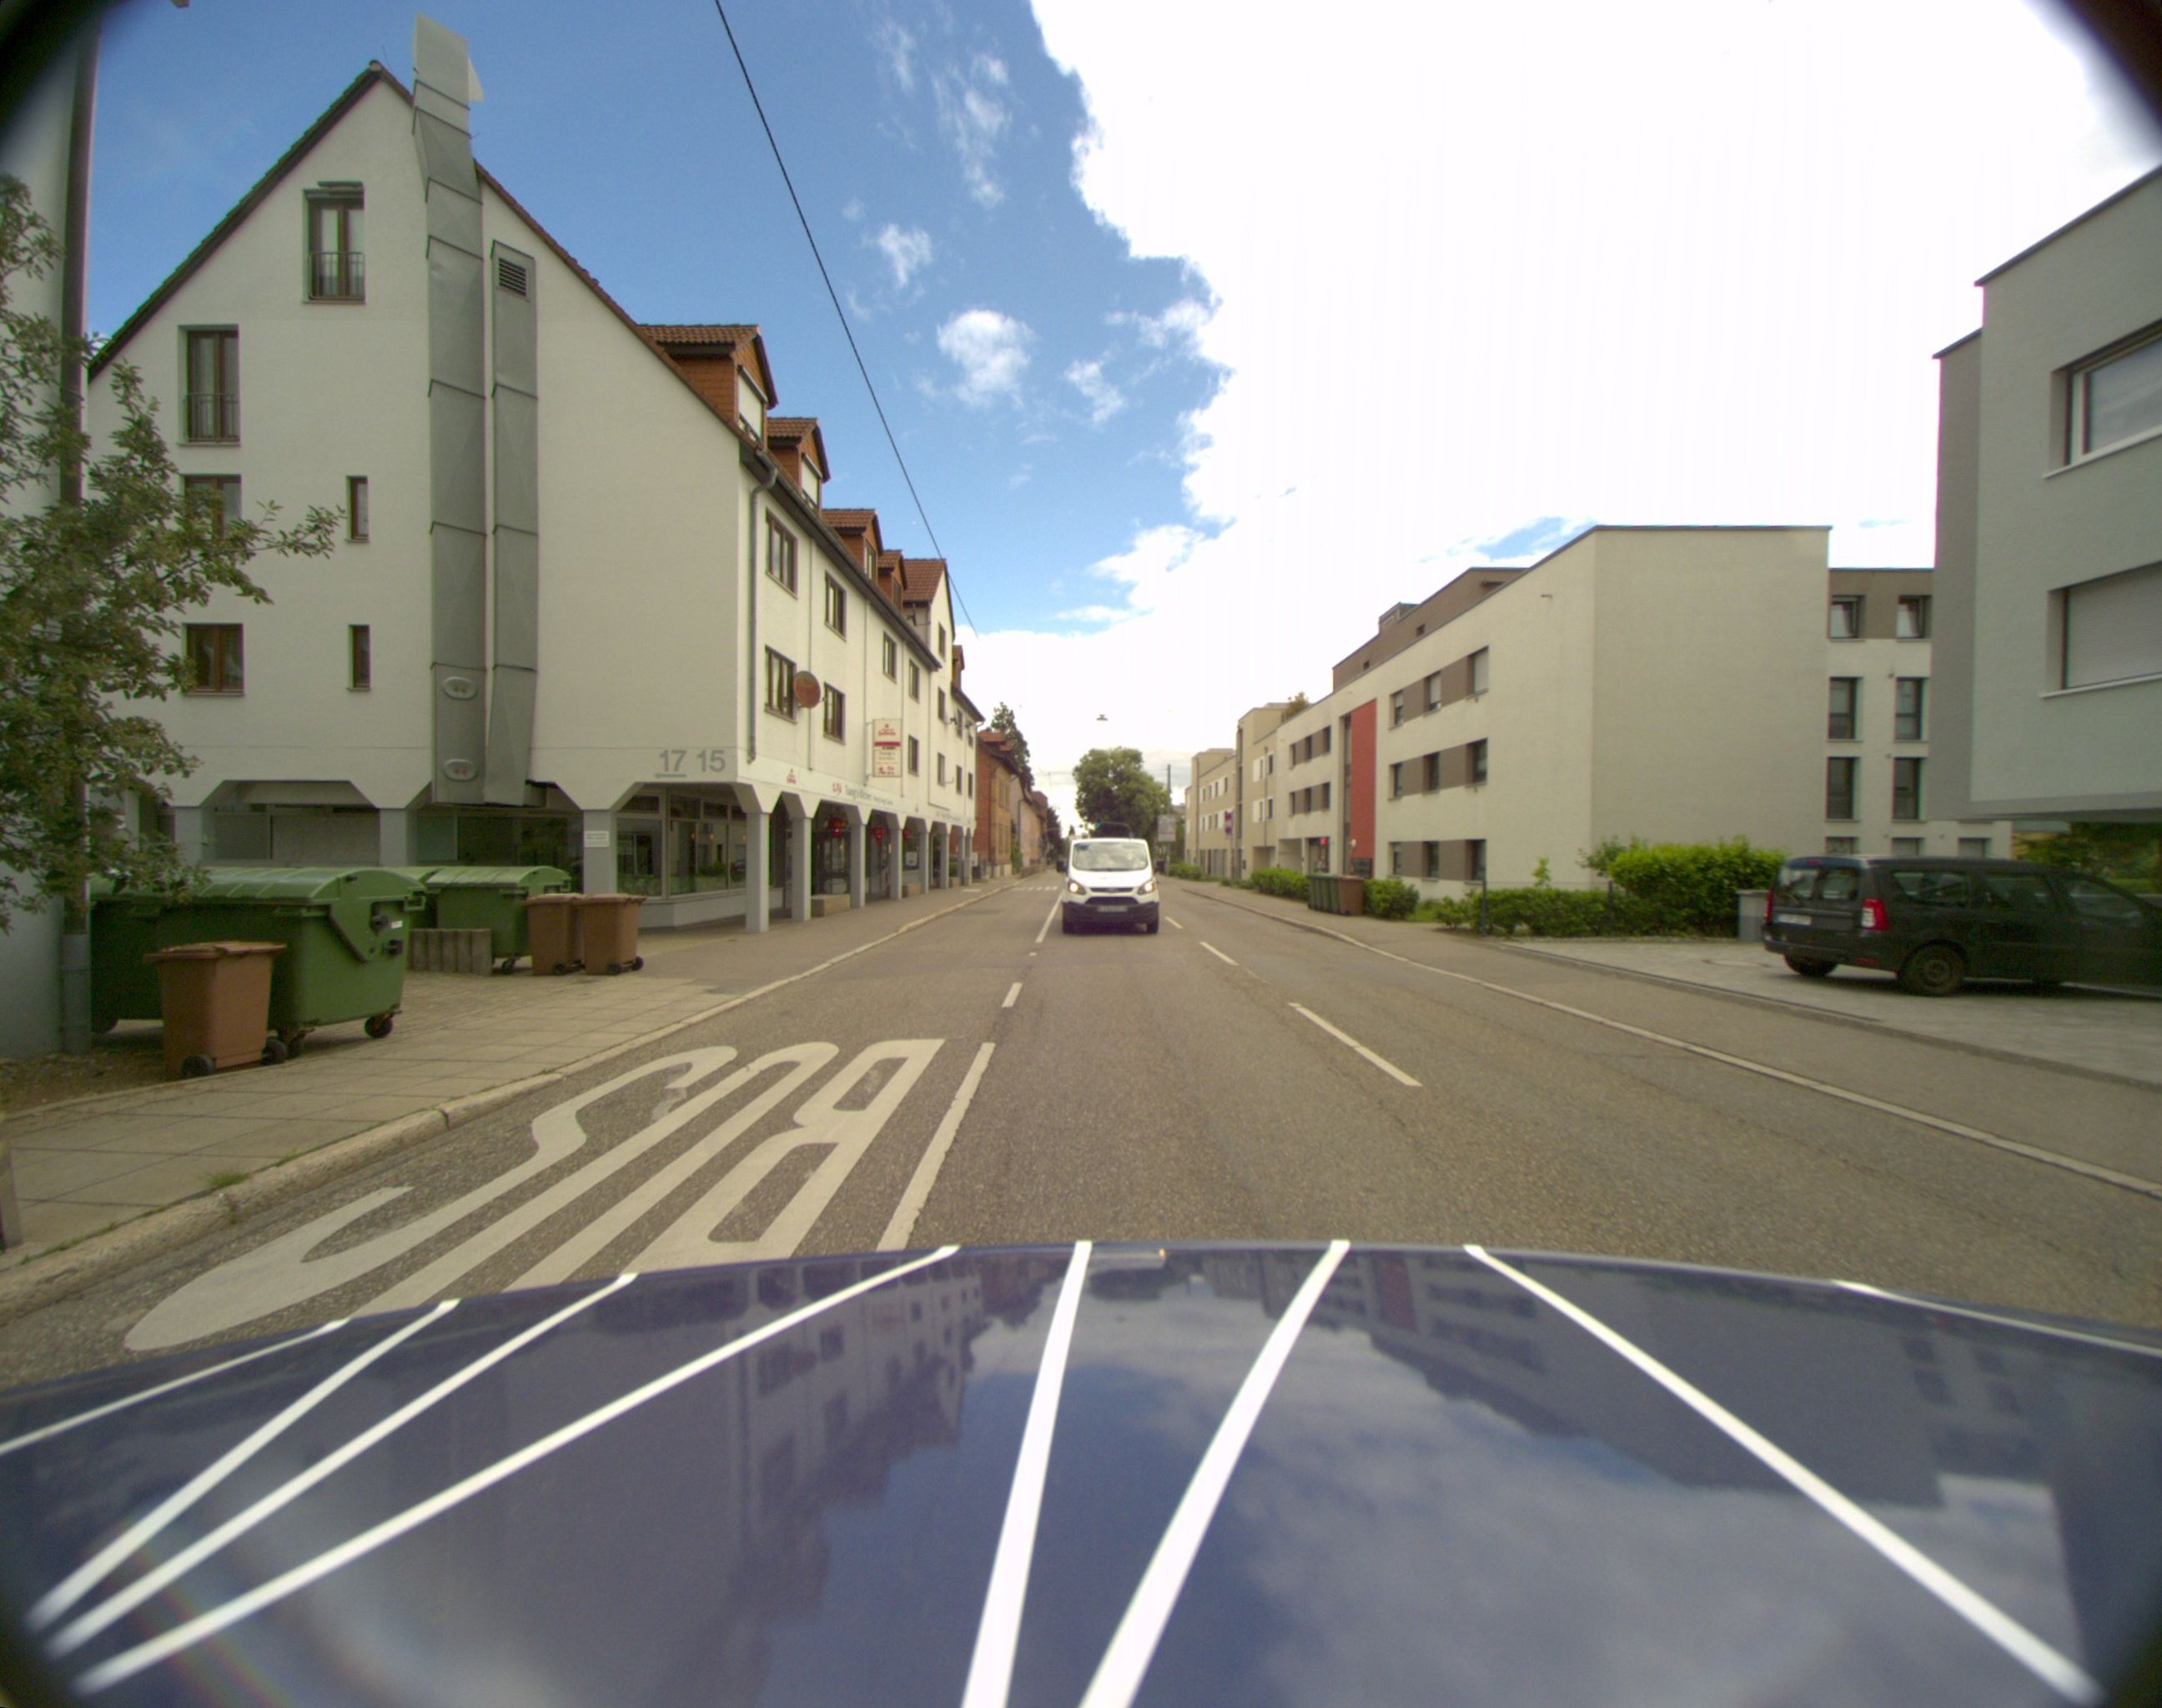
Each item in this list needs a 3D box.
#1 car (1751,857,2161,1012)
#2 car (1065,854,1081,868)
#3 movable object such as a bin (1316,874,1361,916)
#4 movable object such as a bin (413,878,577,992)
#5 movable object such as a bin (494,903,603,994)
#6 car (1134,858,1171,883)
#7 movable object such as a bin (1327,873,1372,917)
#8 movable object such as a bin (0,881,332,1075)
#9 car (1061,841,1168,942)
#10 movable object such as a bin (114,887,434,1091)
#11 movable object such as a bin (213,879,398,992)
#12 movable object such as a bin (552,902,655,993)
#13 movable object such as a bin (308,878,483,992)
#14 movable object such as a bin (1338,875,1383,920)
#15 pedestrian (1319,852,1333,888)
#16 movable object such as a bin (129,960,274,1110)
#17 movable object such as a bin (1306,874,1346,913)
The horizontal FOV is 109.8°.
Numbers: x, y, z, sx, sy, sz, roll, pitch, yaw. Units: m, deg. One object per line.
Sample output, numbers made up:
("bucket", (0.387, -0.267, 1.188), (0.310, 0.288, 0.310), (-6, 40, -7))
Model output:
("car", (11.071, 0.892, 9.252), (4.172, 1.658, 1.725), (0, 1, 4))
("car", (-0.864, 0.757, 85.604), (1.755, 1.485, 3.985), (0, 0, 0))
("movable object such as a bin", (7.289, 1.144, 21.564), (0.959, 1.144, 0.840), (0, 1, -4))
("movable object such as a bin", (-7.906, 1.053, 10.330), (1.212, 1.409, 1.259), (0, 1, 4))
("movable object such as a bin", (-6.955, 1.214, 9.977), (0.699, 1.073, 0.972), (0, 1, 4))
("car", (4.532, 1.020, 48.610), (1.883, 1.442, 4.213), (2, 0, 0))
("movable object such as a bin", (7.317, 1.097, 20.728), (0.951, 1.144, 0.749), (0, 1, -4))
("movable object such as a bin", (-7.625, 0.966, 6.423), (1.270, 1.426, 1.307), (0, 1, 1))
("car", (0.631, 0.710, 17.131), (2.062, 1.945, 5.059), (0, 0, 0))
("movable object such as a bin", (-6.271, 0.991, 6.021), (1.270, 1.409, 1.162), (0, 1, 1))
("movable object such as a bin", (-10.534, 1.068, 10.393), (1.212, 1.409, 1.259), (0, 1, 4))
("movable object such as a bin", (-6.223, 1.192, 9.946), (0.685, 1.061, 0.972), (0, 1, 4))
("movable object such as a bin", (-9.273, 1.059, 10.356), (1.212, 1.409, 1.259), (0, 1, 4))
("movable object such as a bin", (7.364, 1.138, 20.021), (0.943, 1.144, 0.612), (0, 1, -4))
("pedestrian", (11.273, 0.728, 34.964), (0.519, 1.633, 0.641), (0, 1, 26))
("movable object such as a bin", (-6.007, 1.218, 5.209), (0.431, 0.915, 0.465), (0, 1, 1))
("movable object such as a bin", (7.224, 1.151, 22.423), (0.897, 1.083, 0.792), (0, 1, -4))
